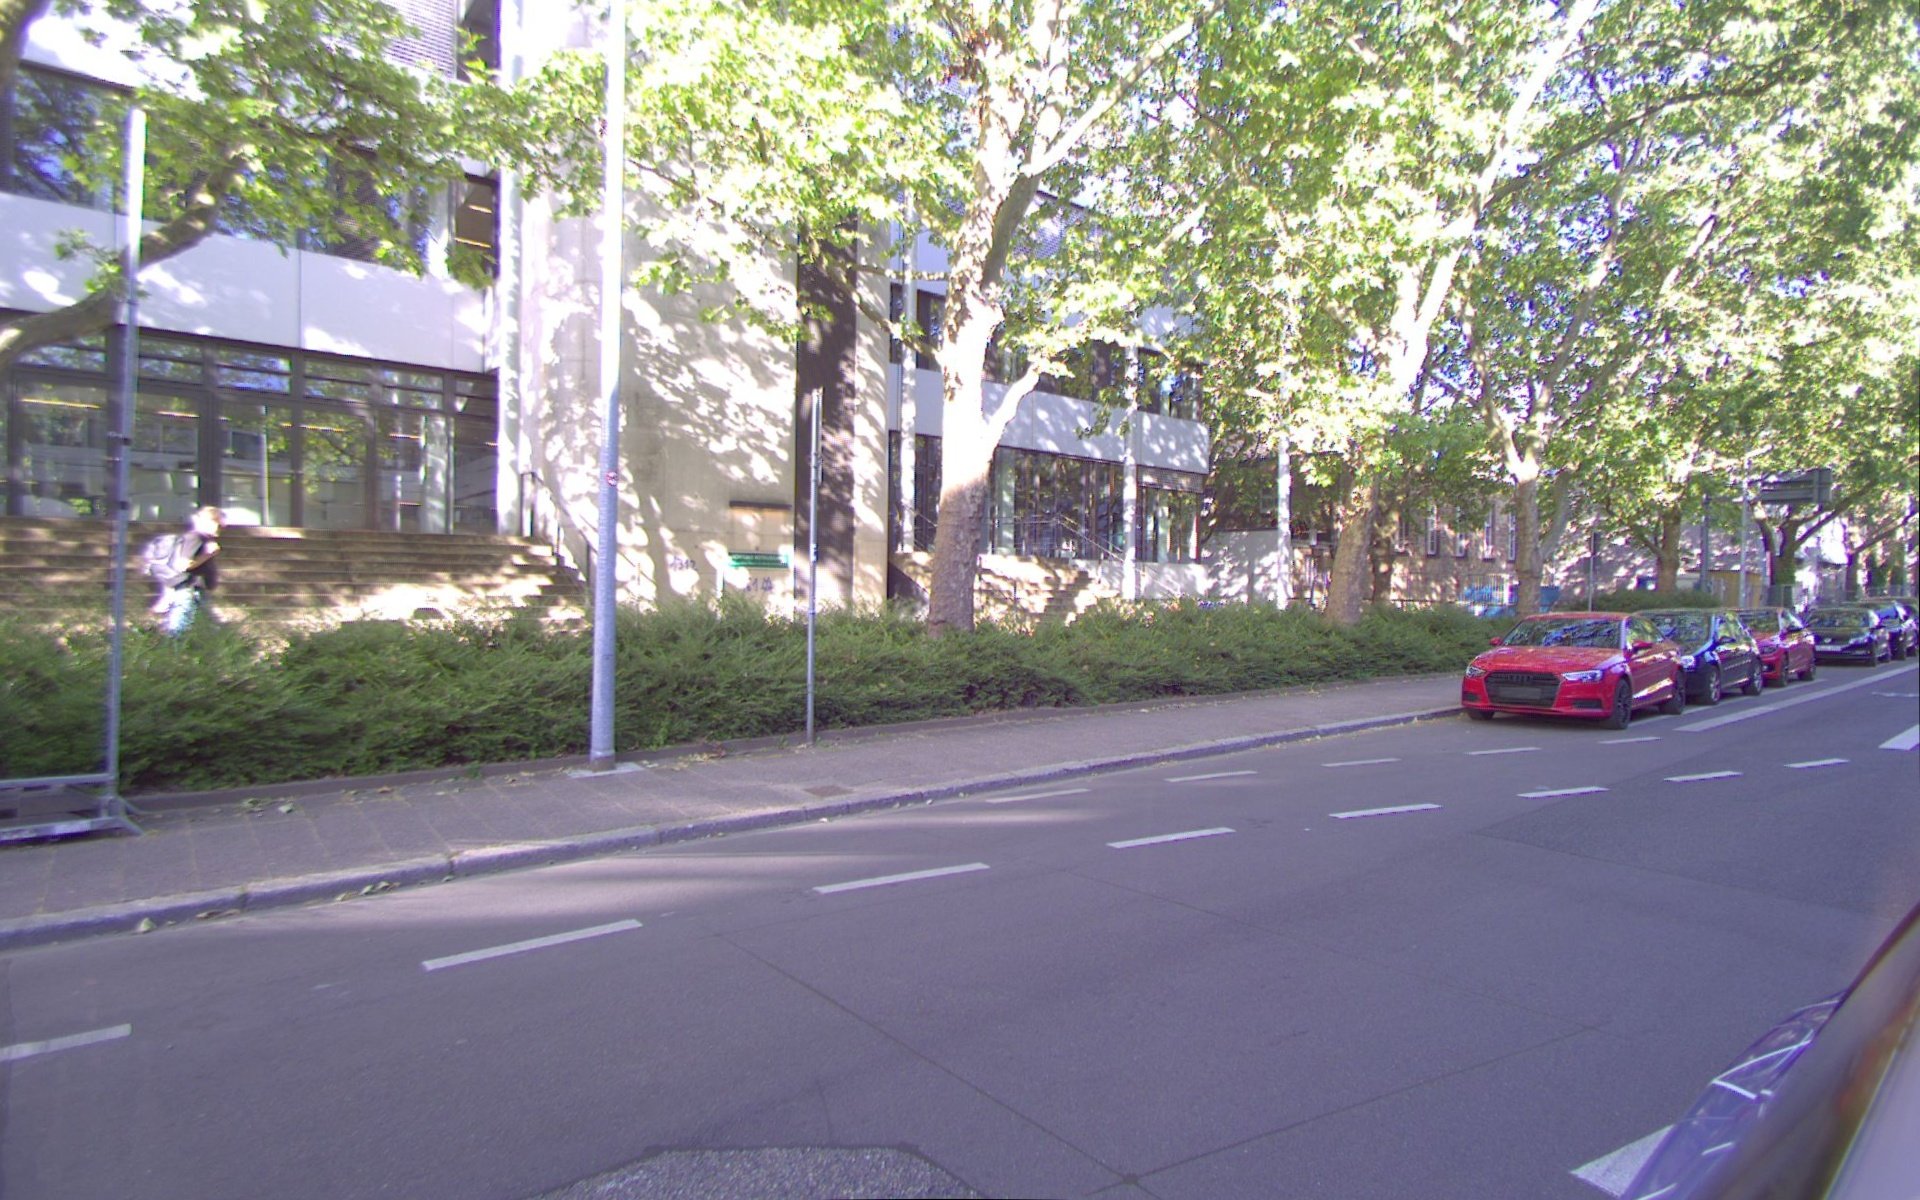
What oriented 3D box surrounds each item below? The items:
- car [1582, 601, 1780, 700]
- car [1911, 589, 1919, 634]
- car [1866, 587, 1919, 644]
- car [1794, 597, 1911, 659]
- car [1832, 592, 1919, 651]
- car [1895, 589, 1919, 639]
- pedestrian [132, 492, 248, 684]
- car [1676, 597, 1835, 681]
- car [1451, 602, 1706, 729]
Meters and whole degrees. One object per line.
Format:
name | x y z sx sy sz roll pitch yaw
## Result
car | 11.956 0.735 16.682 4.092 1.431 1.815 0 -1 -42
car | 39.630 0.434 40.396 4.475 1.777 2.040 0 -1 -42
car | 31.059 0.485 33.010 4.271 1.777 1.788 0 -1 -42
car | 23.053 0.676 26.096 4.092 1.478 1.788 0 -1 -42
car | 26.599 0.585 29.127 4.092 1.573 1.788 0 -1 -42
car | 35.913 0.479 37.245 4.475 1.777 1.788 0 -1 -42
pedestrian | -7.656 -0.120 10.063 0.848 1.803 0.785 0 0 -42
car | 15.861 0.698 20.103 4.092 1.502 1.815 0 -1 -42
car | 8.362 0.750 13.543 4.092 1.431 1.815 0 -1 -42
